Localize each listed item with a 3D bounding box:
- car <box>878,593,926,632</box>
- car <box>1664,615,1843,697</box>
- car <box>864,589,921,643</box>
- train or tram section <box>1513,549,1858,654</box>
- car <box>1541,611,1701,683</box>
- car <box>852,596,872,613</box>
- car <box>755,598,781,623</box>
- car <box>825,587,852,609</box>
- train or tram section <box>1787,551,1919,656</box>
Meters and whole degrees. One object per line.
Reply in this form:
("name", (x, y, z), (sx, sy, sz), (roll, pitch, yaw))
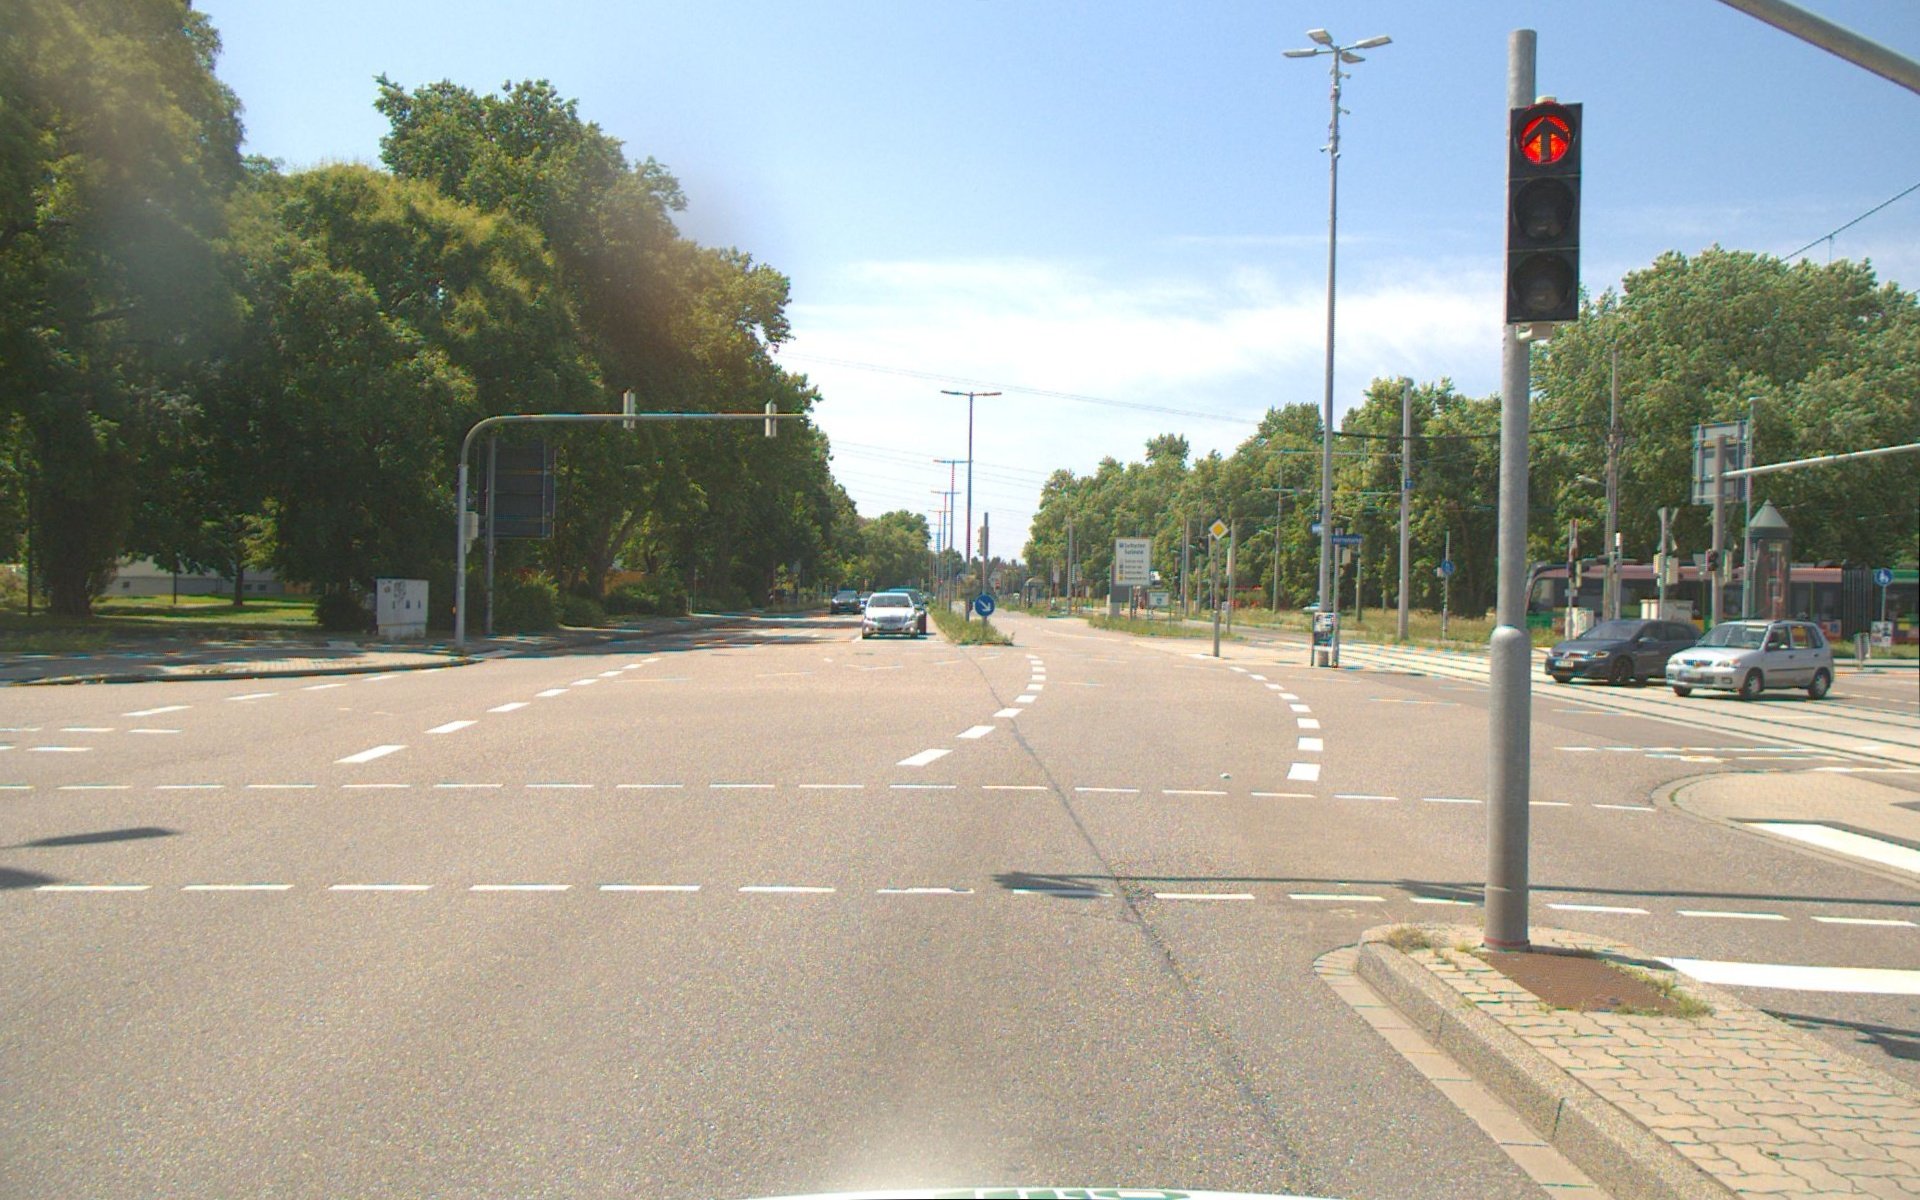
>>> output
("car", (-2.140, 0.448, 61.526), (1.676, 1.389, 3.864), (1, 0, -1))
("car", (15.656, 1.068, 32.579), (3.764, 1.488, 1.619), (1, 0, -36))
("car", (-2.184, 0.500, 54.179), (1.748, 1.657, 3.864), (1, 0, -1))
("train or tram section", (29.768, 0.067, 68.553), (12.756, 3.878, 2.925), (1, -3, 15))
("car", (14.678, 1.016, 36.691), (3.465, 1.488, 1.622), (1, 0, -33))
("car", (-8.920, 0.373, 150.969), (1.637, 1.516, 3.710), (1, 0, -1))
("car", (-16.744, 0.932, 144.481), (1.955, 2.048, 3.996), (4, -1, -4))
("car", (-8.475, -0.160, 115.371), (1.637, 1.516, 3.710), (1, 0, -1))
("train or tram section", (40.888, 0.361, 68.175), (13.173, 3.879, 2.915), (3, -3, -12))
